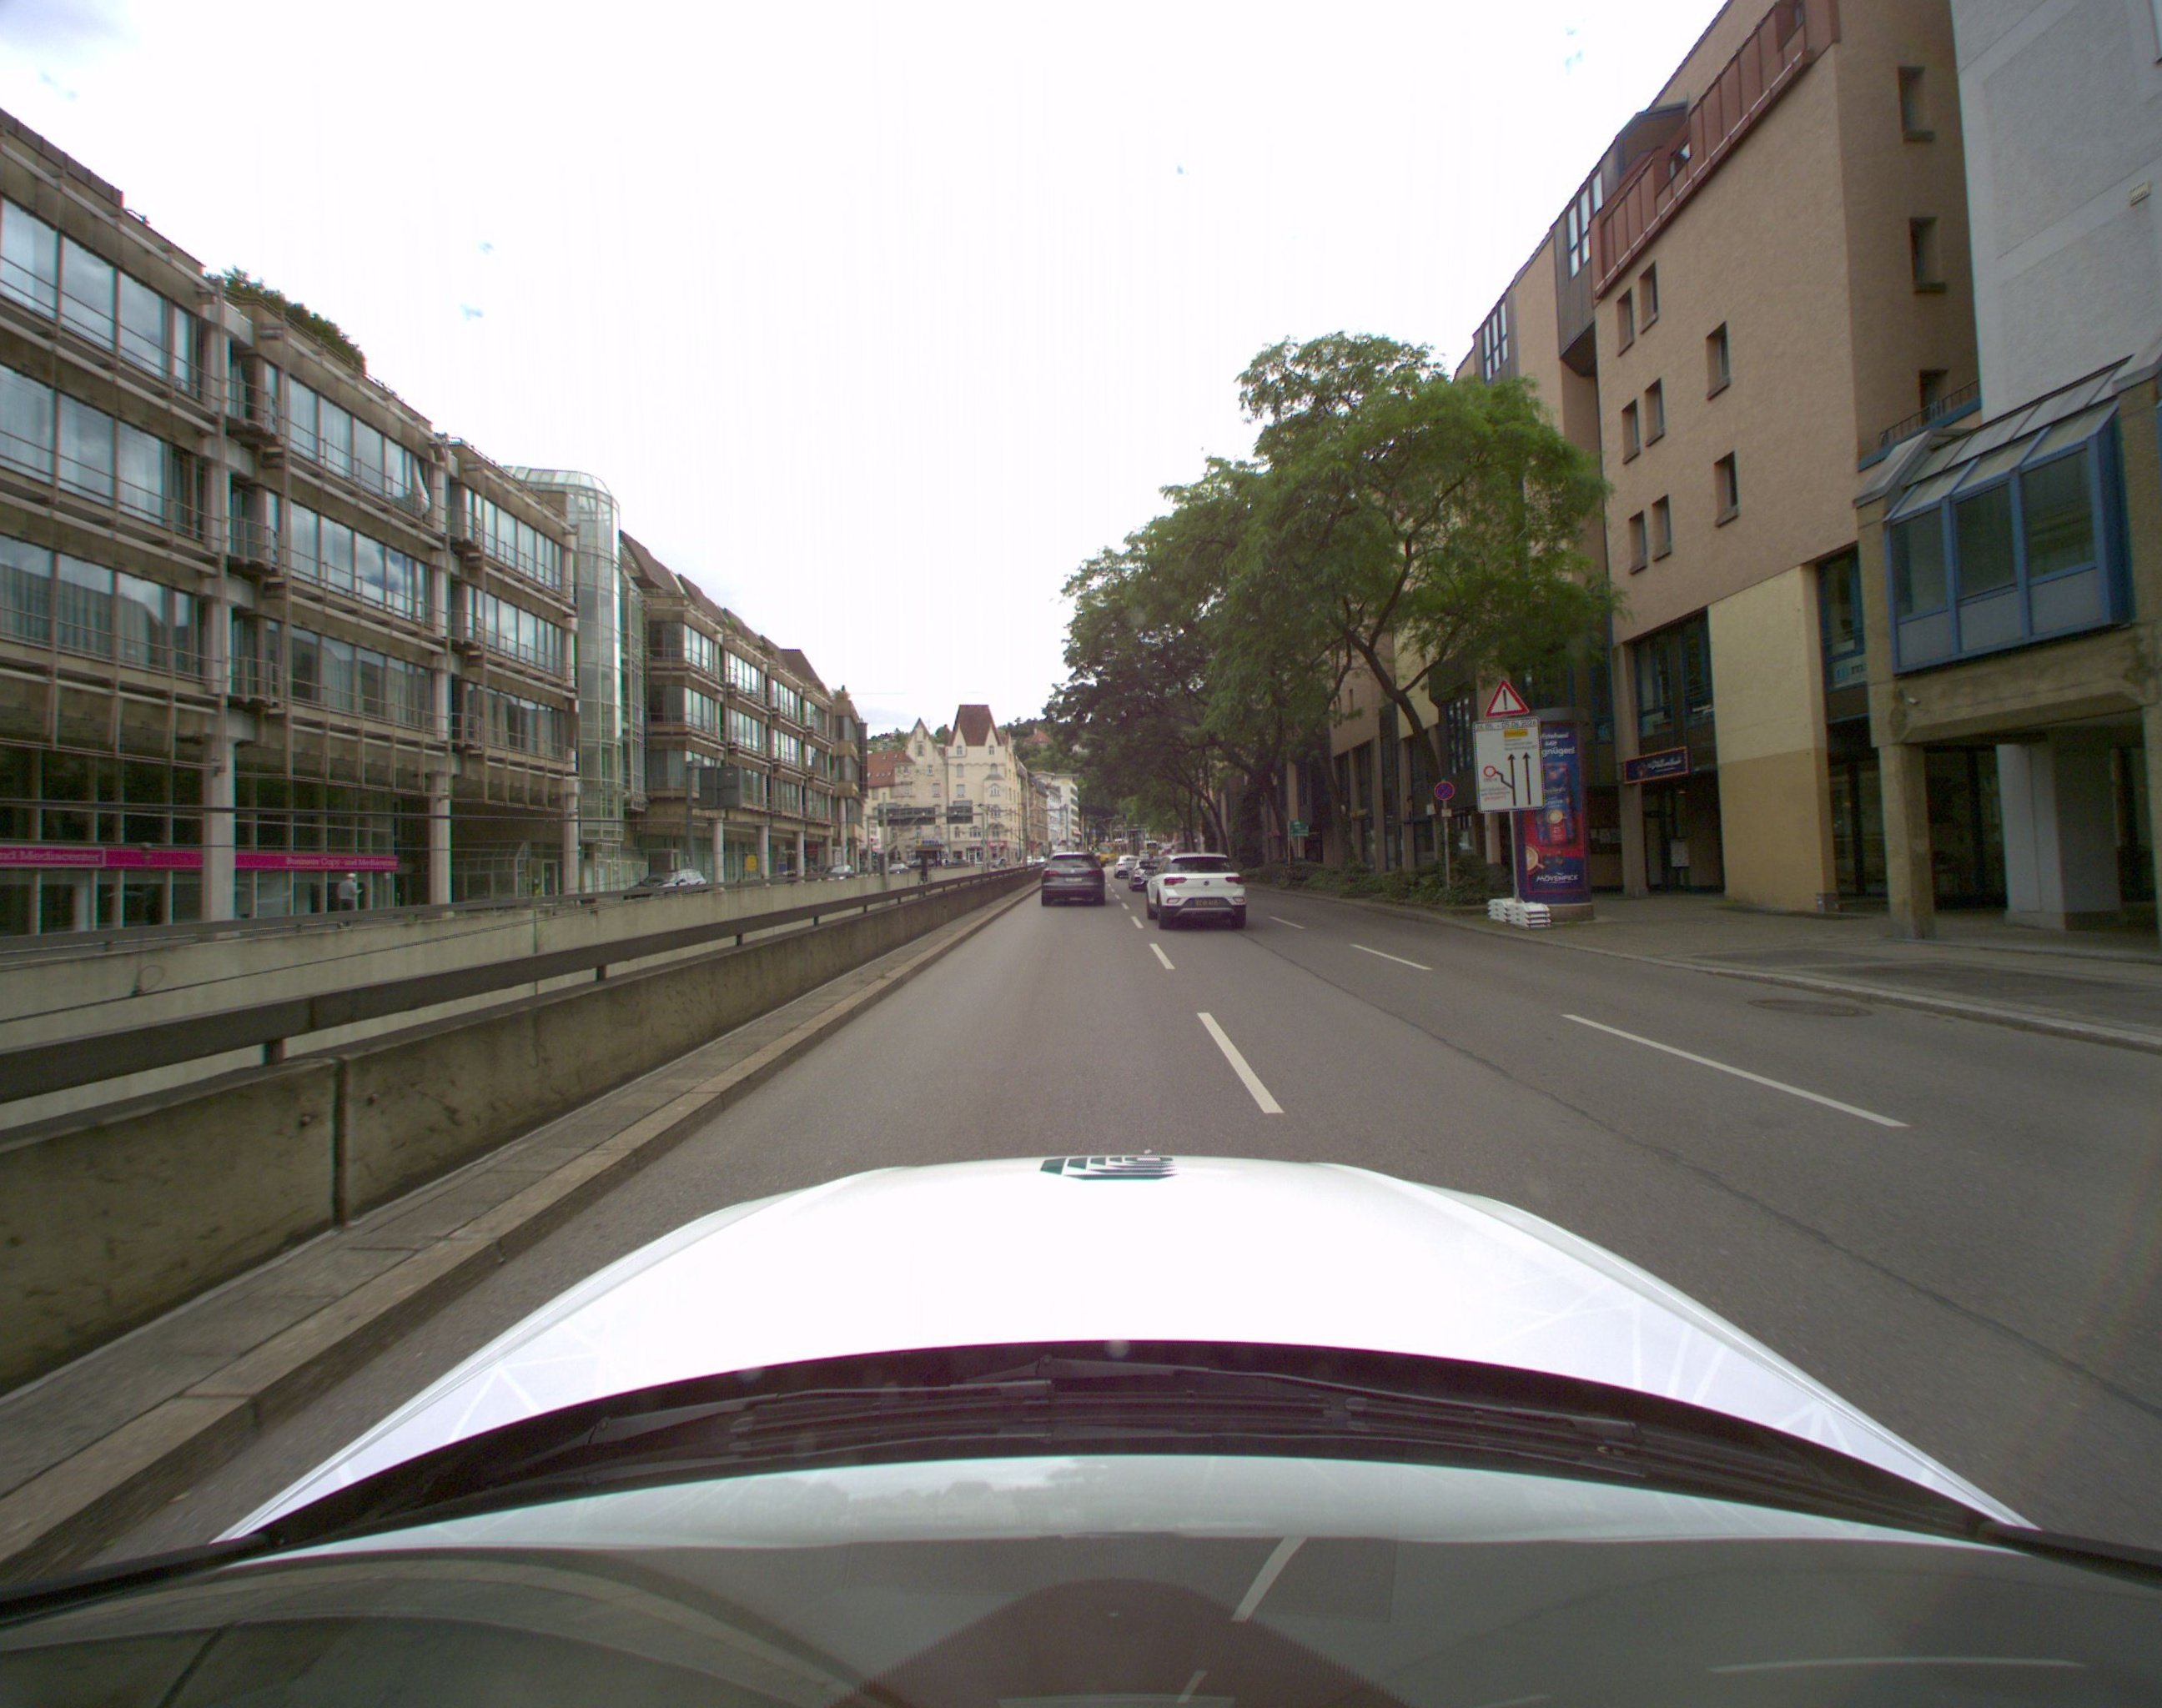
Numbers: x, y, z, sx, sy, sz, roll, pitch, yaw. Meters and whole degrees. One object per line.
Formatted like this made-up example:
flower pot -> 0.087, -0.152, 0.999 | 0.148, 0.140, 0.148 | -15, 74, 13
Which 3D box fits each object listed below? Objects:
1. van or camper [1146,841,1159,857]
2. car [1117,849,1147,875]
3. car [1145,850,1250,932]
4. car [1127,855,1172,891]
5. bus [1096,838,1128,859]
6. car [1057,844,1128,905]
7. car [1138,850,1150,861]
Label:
van or camper -> 15.351, -1.140, 175.216 | 2.615, 3.178, 5.812 | -2, 0, 5
car -> 3.383, 0.495, 54.343 | 1.825, 1.517, 3.770 | -4, 0, 3
car -> 2.431, 0.710, 17.879 | 1.791, 1.545, 3.936 | -1, 0, 1
car -> 3.034, 0.809, 36.694 | 1.826, 1.432, 4.150 | -1, 1, 2
bus -> 5.773, -1.063, 148.036 | 3.828, 3.531, 17.285 | -2, 0, 8
car -> 0.276, 0.569, 25.567 | 1.966, 1.695, 4.220 | 1, 1, -3
car -> 11.058, 0.220, 142.804 | 1.825, 1.874, 4.873 | -3, 0, 2
